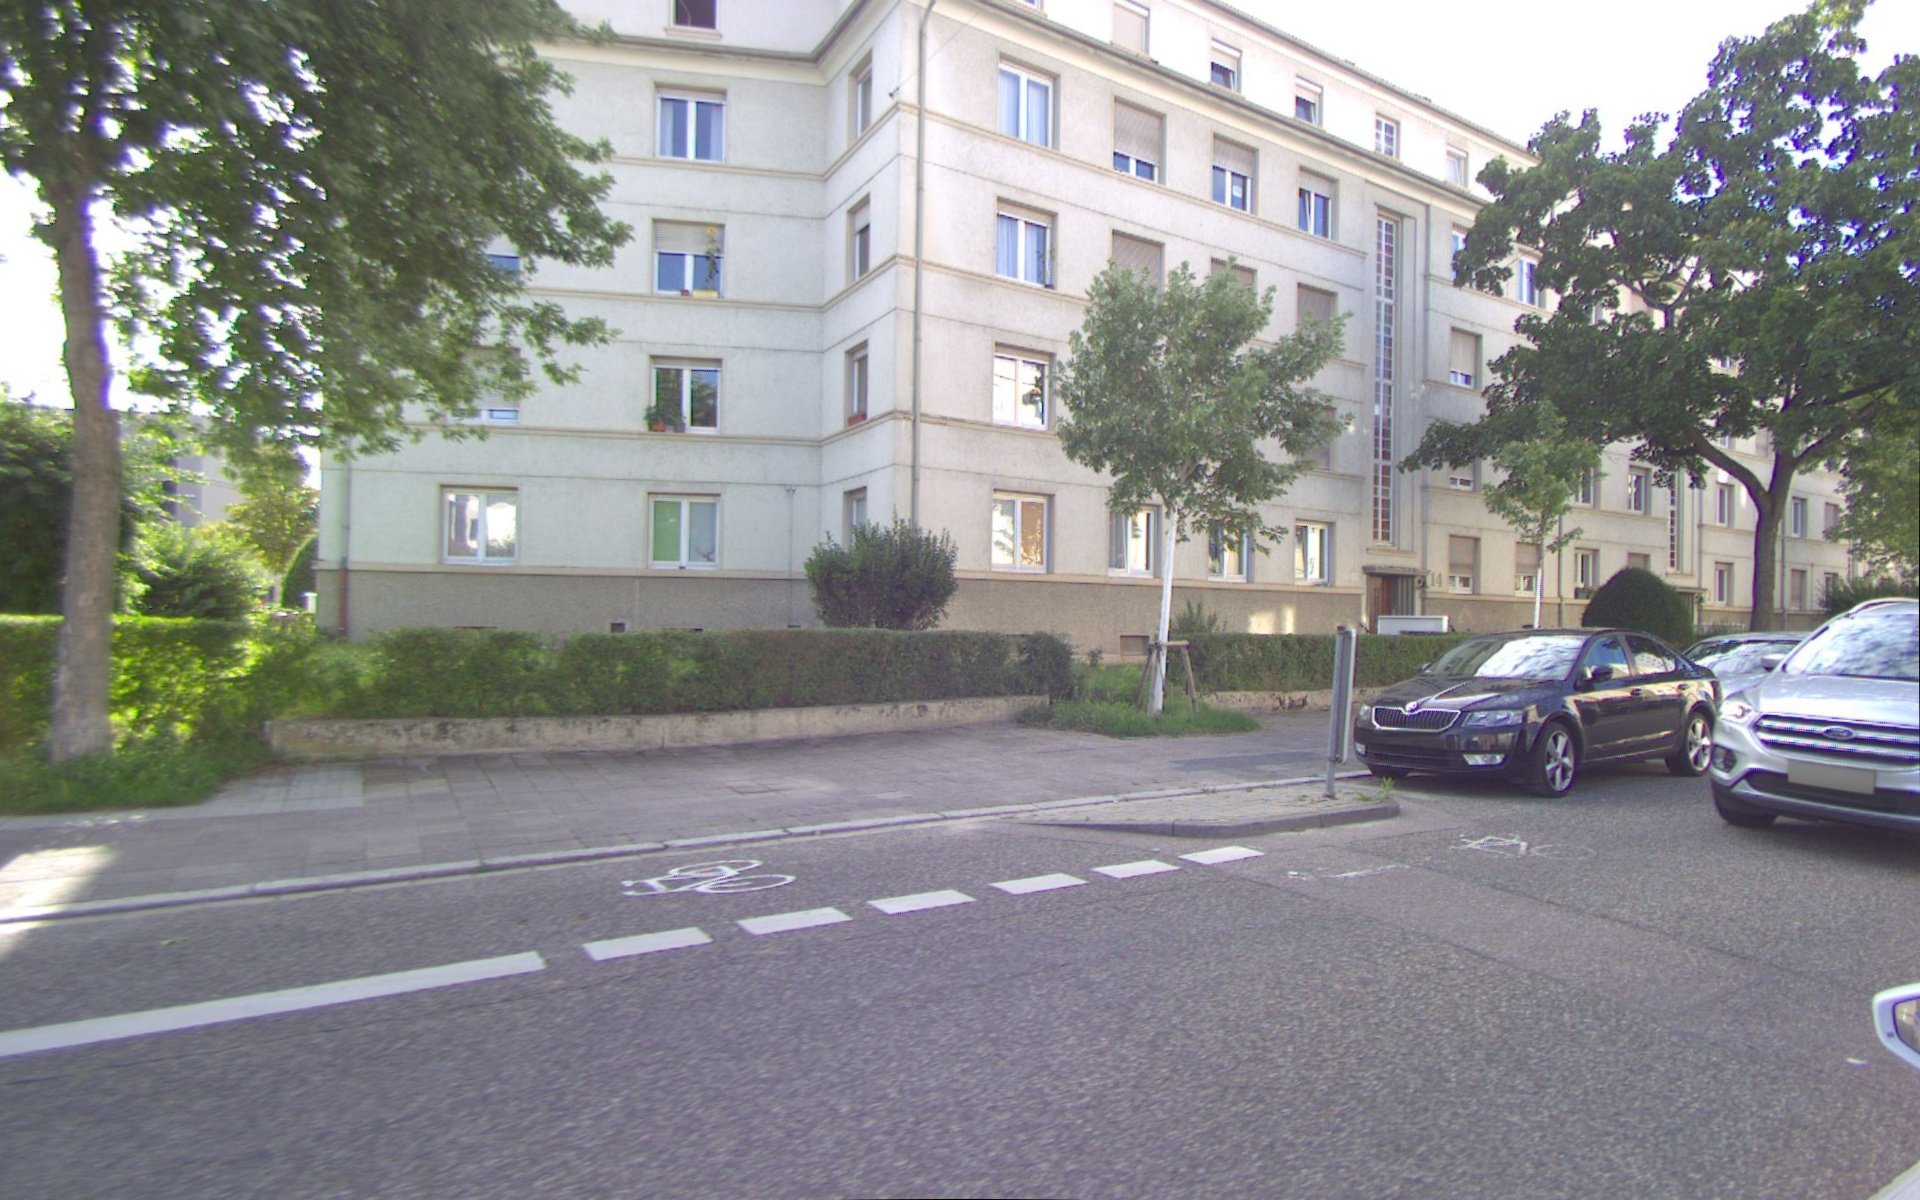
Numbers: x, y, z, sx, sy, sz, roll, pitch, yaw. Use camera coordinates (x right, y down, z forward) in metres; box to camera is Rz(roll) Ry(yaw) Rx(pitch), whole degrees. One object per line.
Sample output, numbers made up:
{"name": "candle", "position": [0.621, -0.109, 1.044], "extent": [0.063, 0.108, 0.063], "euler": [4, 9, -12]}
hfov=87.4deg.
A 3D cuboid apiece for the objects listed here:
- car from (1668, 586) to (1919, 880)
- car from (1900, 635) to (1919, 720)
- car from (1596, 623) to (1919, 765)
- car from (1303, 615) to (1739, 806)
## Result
{"name": "car", "position": [7.158, 0.831, 7.270], "extent": [4.038, 1.691, 1.820], "euler": [2, 1, -31]}
{"name": "car", "position": [19.227, 1.366, 18.307], "extent": [4.744, 1.505, 1.846], "euler": [1, -4, -32]}
{"name": "car", "position": [10.070, 1.081, 12.593], "extent": [4.319, 1.505, 1.811], "euler": [1, -3, -31]}
{"name": "car", "position": [5.625, 0.961, 9.946], "extent": [4.372, 1.505, 1.917], "euler": [1, -3, -32]}
